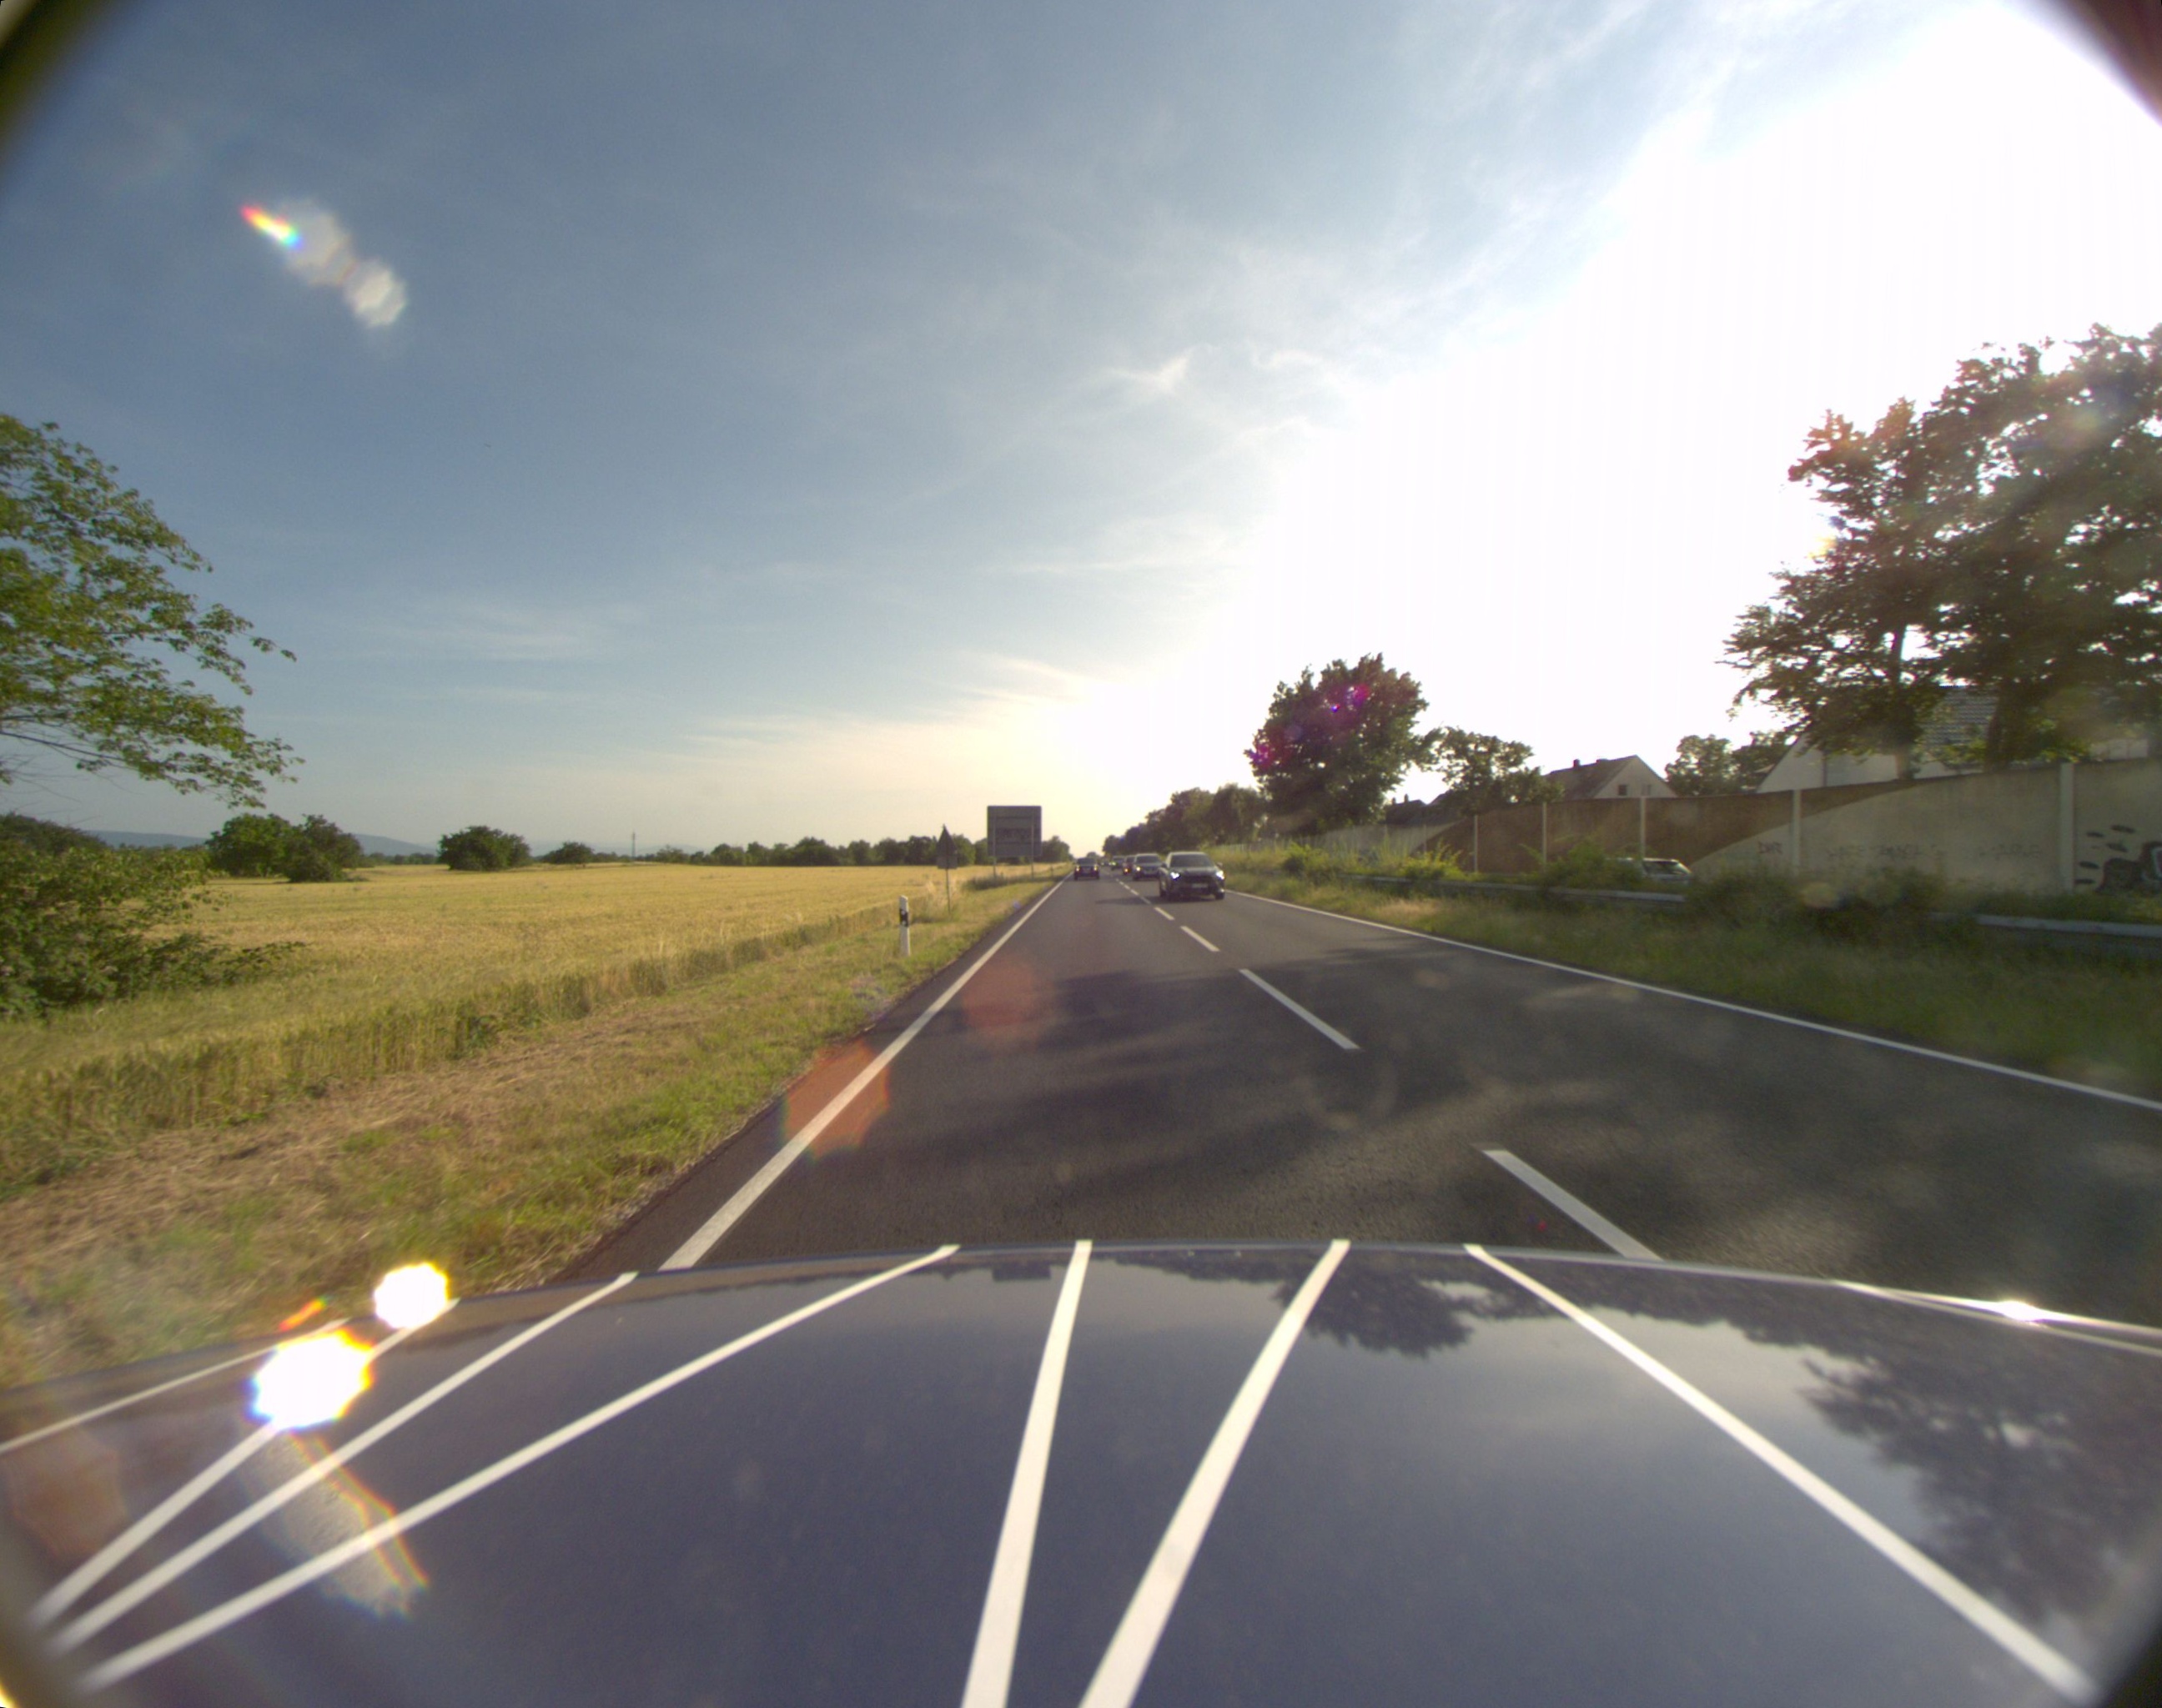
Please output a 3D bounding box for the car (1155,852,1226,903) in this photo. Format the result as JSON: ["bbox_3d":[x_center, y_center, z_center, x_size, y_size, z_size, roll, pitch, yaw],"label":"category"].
[{"bbox_3d":[3.678,0.743,26.207,1.822,1.516,4.246,-2,0,1],"label":"car"}]

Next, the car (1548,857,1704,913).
[{"bbox_3d":[16.218,0.856,22.901,1.759,1.433,3.999,-2,0,-1],"label":"car"}]

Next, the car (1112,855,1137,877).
[{"bbox_3d":[3.633,0.975,63.954,1.822,1.661,4.000,-2,0,0],"label":"car"}]

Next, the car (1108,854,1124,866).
[{"bbox_3d":[4.247,0.707,92.218,1.700,1.456,3.646,-2,0,0],"label":"car"}]

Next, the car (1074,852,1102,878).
[{"bbox_3d":[0.455,0.718,53.362,1.822,1.661,4.000,-2,0,0],"label":"car"}]

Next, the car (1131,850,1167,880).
[{"bbox_3d":[4.205,0.639,47.500,1.822,1.724,4.000,-2,0,1],"label":"car"}]

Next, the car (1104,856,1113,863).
[{"bbox_3d":[5.537,1.088,151.962,1.693,1.397,4.000,-2,0,0],"label":"car"}]
